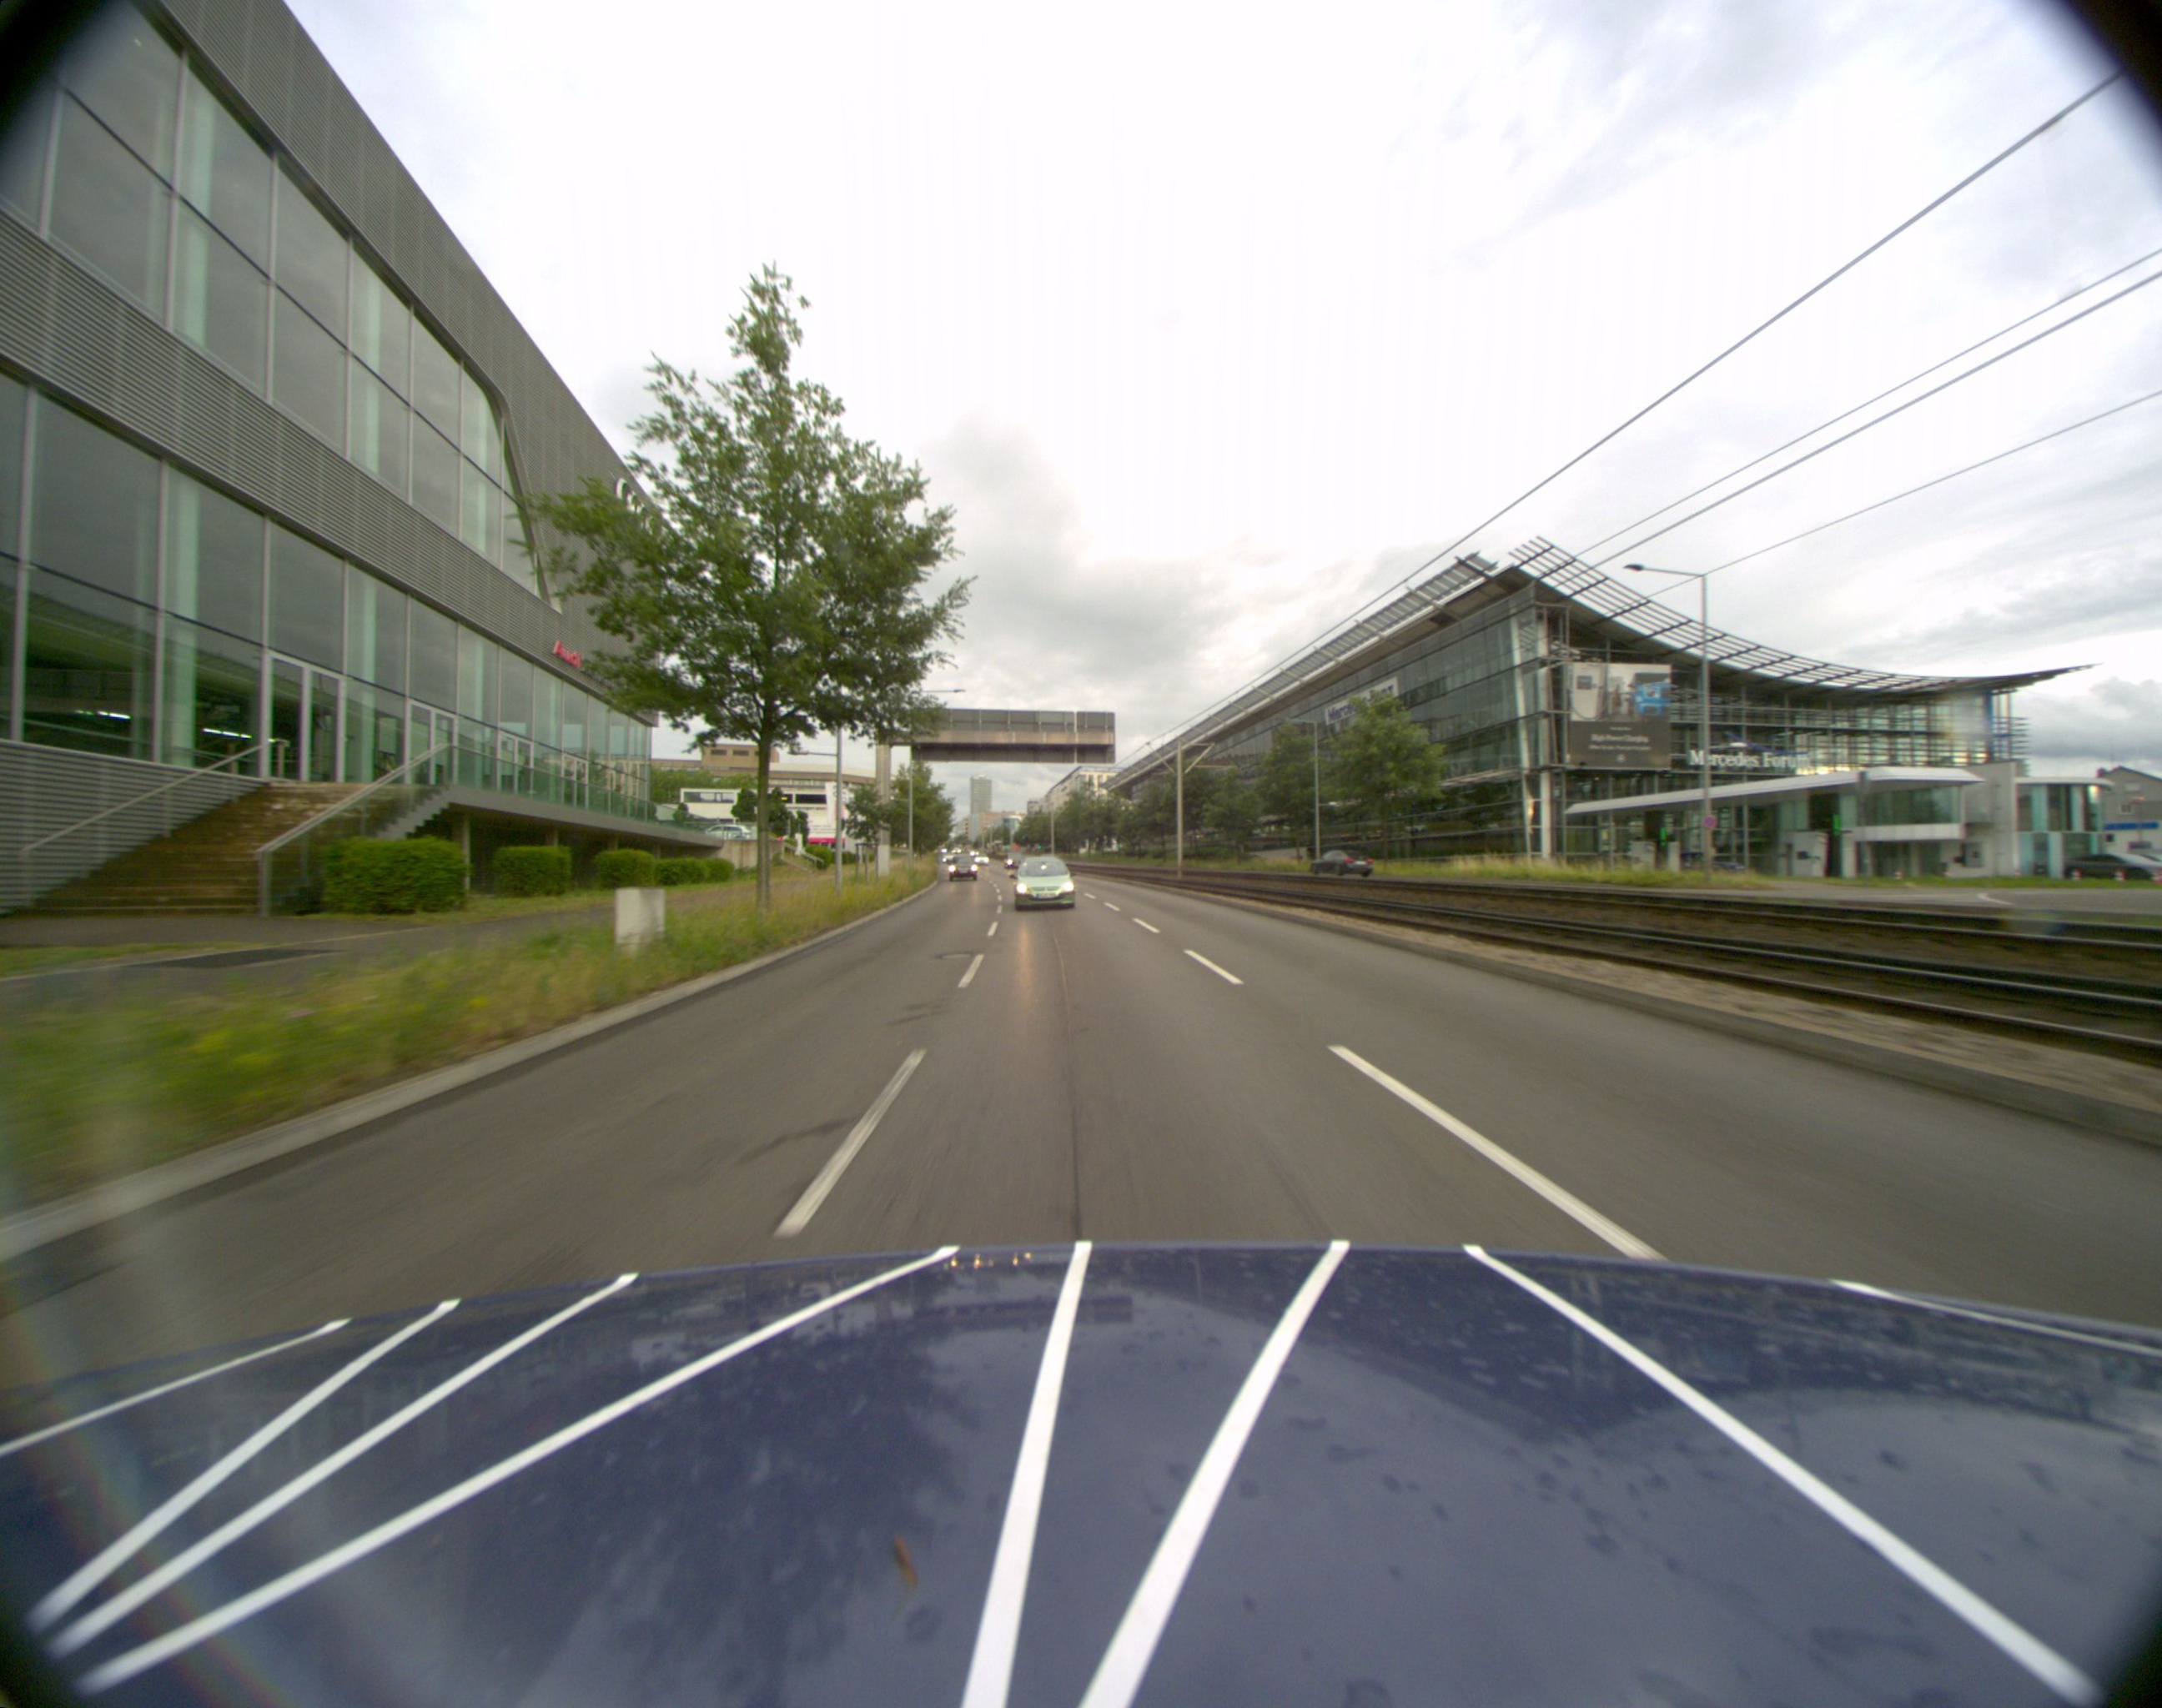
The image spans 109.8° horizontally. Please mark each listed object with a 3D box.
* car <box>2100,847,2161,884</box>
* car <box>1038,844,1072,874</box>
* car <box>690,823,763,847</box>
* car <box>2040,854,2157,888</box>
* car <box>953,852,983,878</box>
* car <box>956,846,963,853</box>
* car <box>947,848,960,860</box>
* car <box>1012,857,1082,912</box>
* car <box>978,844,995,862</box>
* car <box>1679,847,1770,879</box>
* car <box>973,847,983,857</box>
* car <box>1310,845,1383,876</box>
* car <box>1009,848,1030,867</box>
[{"bbox_3d":[62.842,0.669,44.257,1.906,2.002,3.745,-2,2,1],"label":"car"},{"bbox_3d":[-1.902,0.312,55.175,2.000,2.002,3.996,-2,2,-8],"label":"car"},{"bbox_3d":[-24.541,-1.300,52.685,4.274,1.565,1.691,-1,1,-12],"label":"car"},{"bbox_3d":[59.324,0.949,44.398,1.781,1.700,3.747,-2,2,1],"label":"car"},{"bbox_3d":[-7.465,0.708,50.400,1.830,1.599,4.111,-1,-1,-8],"label":"car"},{"bbox_3d":[-35.269,-1.232,220.603,2.000,1.838,3.995,-2,2,-9],"label":"car"},{"bbox_3d":[-19.532,0.027,116.357,1.862,1.799,4.111,-1,0,-8],"label":"car"},{"bbox_3d":[-1.124,0.855,23.257,1.830,1.499,4.111,-2,0,-7],"label":"car"},{"bbox_3d":[-11.913,-0.145,95.377,2.000,2.002,3.996,-2,2,-7],"label":"car"},{"bbox_3d":[40.111,0.542,47.429,1.898,1.840,3.989,-3,2,-37],"label":"car"},{"bbox_3d":[-22.689,-0.415,167.357,2.000,2.002,3.995,-2,2,-9],"label":"car"},{"bbox_3d":[14.276,0.340,41.166,1.889,1.512,4.400,2,0,-8],"label":"car"},{"bbox_3d":[-6.304,0.346,77.407,1.862,1.799,4.111,-1,0,-8],"label":"car"}]
